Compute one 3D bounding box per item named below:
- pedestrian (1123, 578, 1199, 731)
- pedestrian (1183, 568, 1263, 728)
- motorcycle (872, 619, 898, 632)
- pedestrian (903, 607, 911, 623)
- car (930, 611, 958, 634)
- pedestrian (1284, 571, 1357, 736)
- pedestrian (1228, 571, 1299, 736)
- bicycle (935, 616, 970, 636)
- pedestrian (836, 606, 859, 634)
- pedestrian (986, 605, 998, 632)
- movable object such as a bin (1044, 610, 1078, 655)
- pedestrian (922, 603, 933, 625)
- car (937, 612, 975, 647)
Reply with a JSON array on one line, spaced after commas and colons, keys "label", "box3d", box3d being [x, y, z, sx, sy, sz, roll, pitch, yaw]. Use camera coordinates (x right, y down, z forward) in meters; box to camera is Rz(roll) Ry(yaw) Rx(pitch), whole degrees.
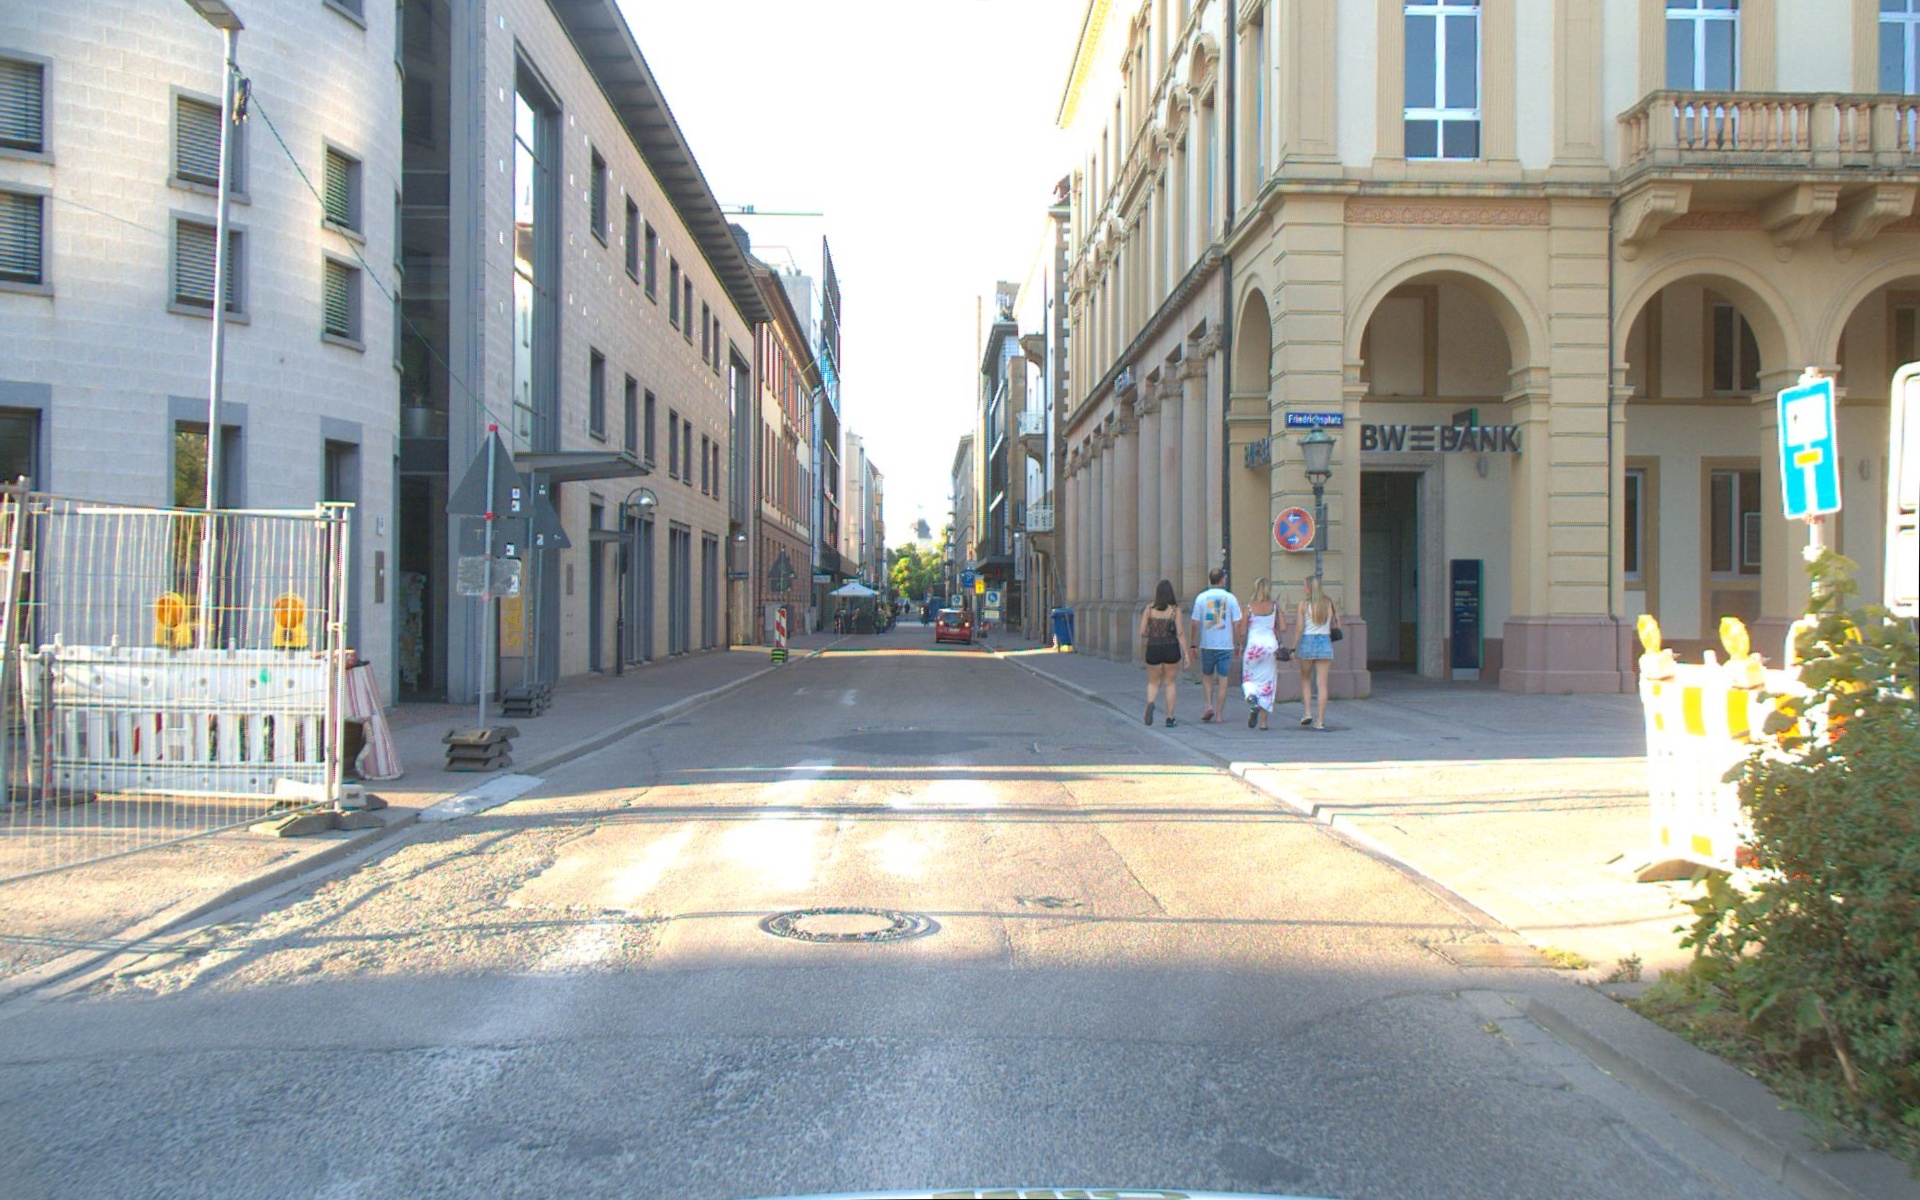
[{"label": "pedestrian", "box3d": [2.389, 0.638, 19.727, 0.760, 1.777, 0.874, 0, -1, -3]}, {"label": "pedestrian", "box3d": [3.207, 0.571, 20.218, 0.795, 1.908, 0.874, 0, -1, -3]}, {"label": "motorcycle", "box3d": [-5.170, 1.737, 114.024, 1.766, 0.891, 0.560, 0, -1, -6]}, {"label": "pedestrian", "box3d": [-5.641, 1.560, 174.791, 0.788, 1.702, 0.888, 0, -1, 0]}, {"label": "car", "box3d": [-1.194, 1.667, 123.441, 1.954, 1.639, 3.997, 0, -1, -3]}, {"label": "pedestrian", "box3d": [4.088, 0.600, 18.806, 0.623, 1.835, 0.771, 0, -1, -3]}, {"label": "pedestrian", "box3d": [3.435, 0.596, 18.768, 0.623, 1.835, 0.771, 0, -1, -3]}, {"label": "bicycle", "box3d": [-0.446, 1.530, 96.160, 2.012, 1.154, 0.648, 0, -1, -5]}, {"label": "pedestrian", "box3d": [-6.098, 1.077, 89.752, 1.265, 1.514, 0.661, 0, -1, -4]}, {"label": "pedestrian", "box3d": [1.818, 1.046, 93.403, 0.643, 1.514, 0.493, 0, -1, 0]}, {"label": "movable object such as a bin", "box3d": [3.244, 1.032, 53.424, 0.970, 1.416, 1.240, -1, 0, -2]}, {"label": "pedestrian", "box3d": [-2.548, 1.116, 129.983, 0.848, 1.743, 0.852, 0, -1, -2]}, {"label": "car", "box3d": [-0.206, 1.324, 74.214, 1.616, 1.452, 3.534, 3, -1, -1]}]
